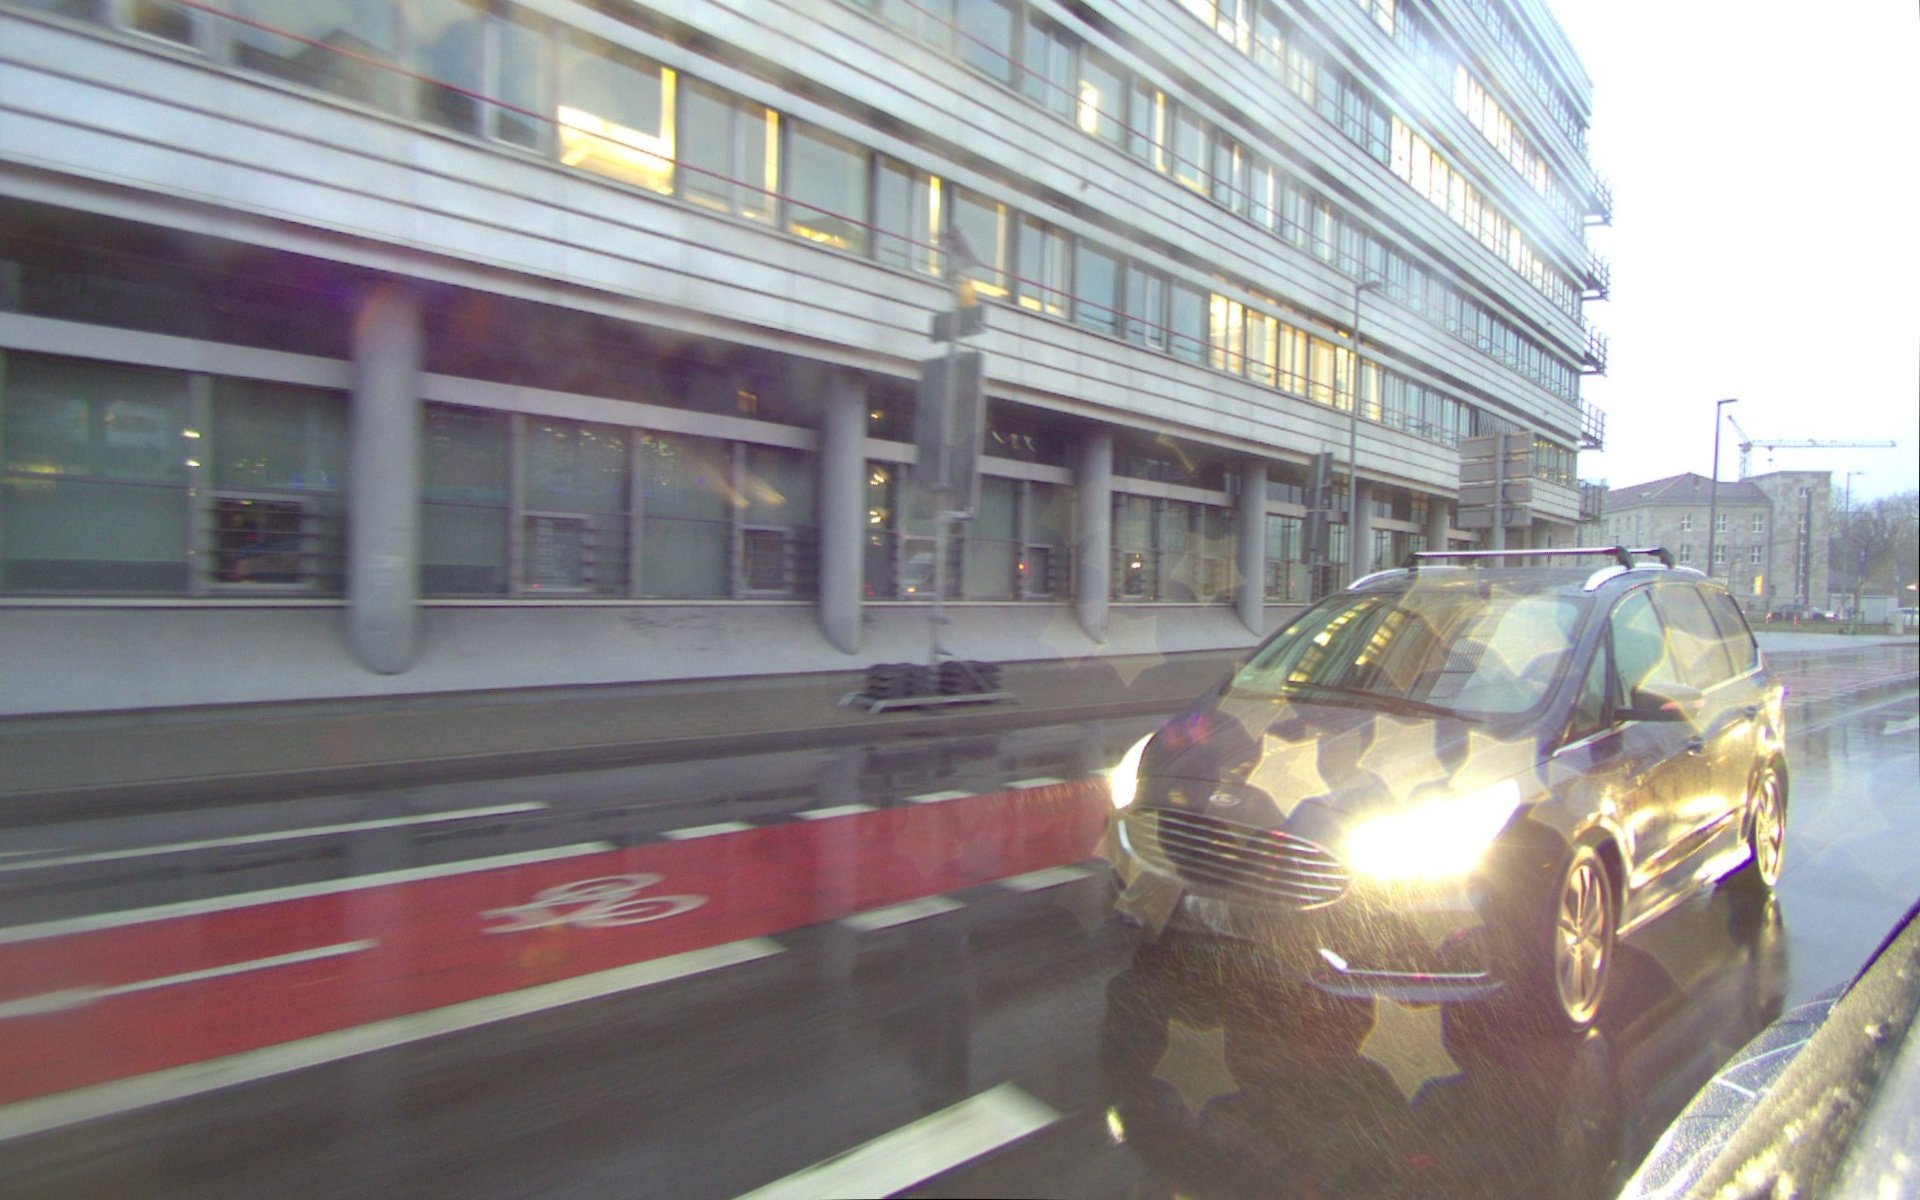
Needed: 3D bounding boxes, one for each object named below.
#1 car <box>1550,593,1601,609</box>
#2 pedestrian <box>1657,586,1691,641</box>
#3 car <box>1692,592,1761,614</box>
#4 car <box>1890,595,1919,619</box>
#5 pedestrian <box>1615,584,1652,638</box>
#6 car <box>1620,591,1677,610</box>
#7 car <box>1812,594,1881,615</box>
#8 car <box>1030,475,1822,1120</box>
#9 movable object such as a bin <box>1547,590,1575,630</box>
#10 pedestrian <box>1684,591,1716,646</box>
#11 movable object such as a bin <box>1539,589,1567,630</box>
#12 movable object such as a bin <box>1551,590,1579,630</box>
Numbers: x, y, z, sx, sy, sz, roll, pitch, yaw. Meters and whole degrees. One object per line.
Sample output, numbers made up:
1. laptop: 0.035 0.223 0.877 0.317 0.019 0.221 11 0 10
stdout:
1. car: 62.342 0.063 102.616 1.958 1.523 4.012 1 1 -25
2. pedestrian: 22.995 0.432 32.587 0.870 1.723 0.650 0 3 -44
3. car: 67.343 0.267 88.987 1.958 1.782 4.385 1 1 -25
4. car: 72.929 0.545 76.174 1.744 1.730 3.932 1 1 -27
5. pedestrian: 22.547 0.368 33.858 0.953 1.722 0.746 0 4 -44
6. car: 64.860 0.013 95.410 1.958 1.693 4.012 1 1 -25
7. car: 70.611 0.364 80.653 1.743 1.556 3.774 1 1 -24
8. car: 2.651 0.560 5.101 4.588 1.834 1.886 0 0 -40
9. movable object such as a bin: 22.033 0.364 37.070 0.827 1.446 0.665 0 1 -44
10. pedestrian: 23.441 0.565 32.066 0.870 1.689 0.615 0 3 -44
11. movable object such as a bin: 21.376 0.345 36.482 0.827 1.446 0.665 0 1 -44
12. movable object such as a bin: 22.603 0.366 37.807 0.827 1.495 0.665 0 1 -44
